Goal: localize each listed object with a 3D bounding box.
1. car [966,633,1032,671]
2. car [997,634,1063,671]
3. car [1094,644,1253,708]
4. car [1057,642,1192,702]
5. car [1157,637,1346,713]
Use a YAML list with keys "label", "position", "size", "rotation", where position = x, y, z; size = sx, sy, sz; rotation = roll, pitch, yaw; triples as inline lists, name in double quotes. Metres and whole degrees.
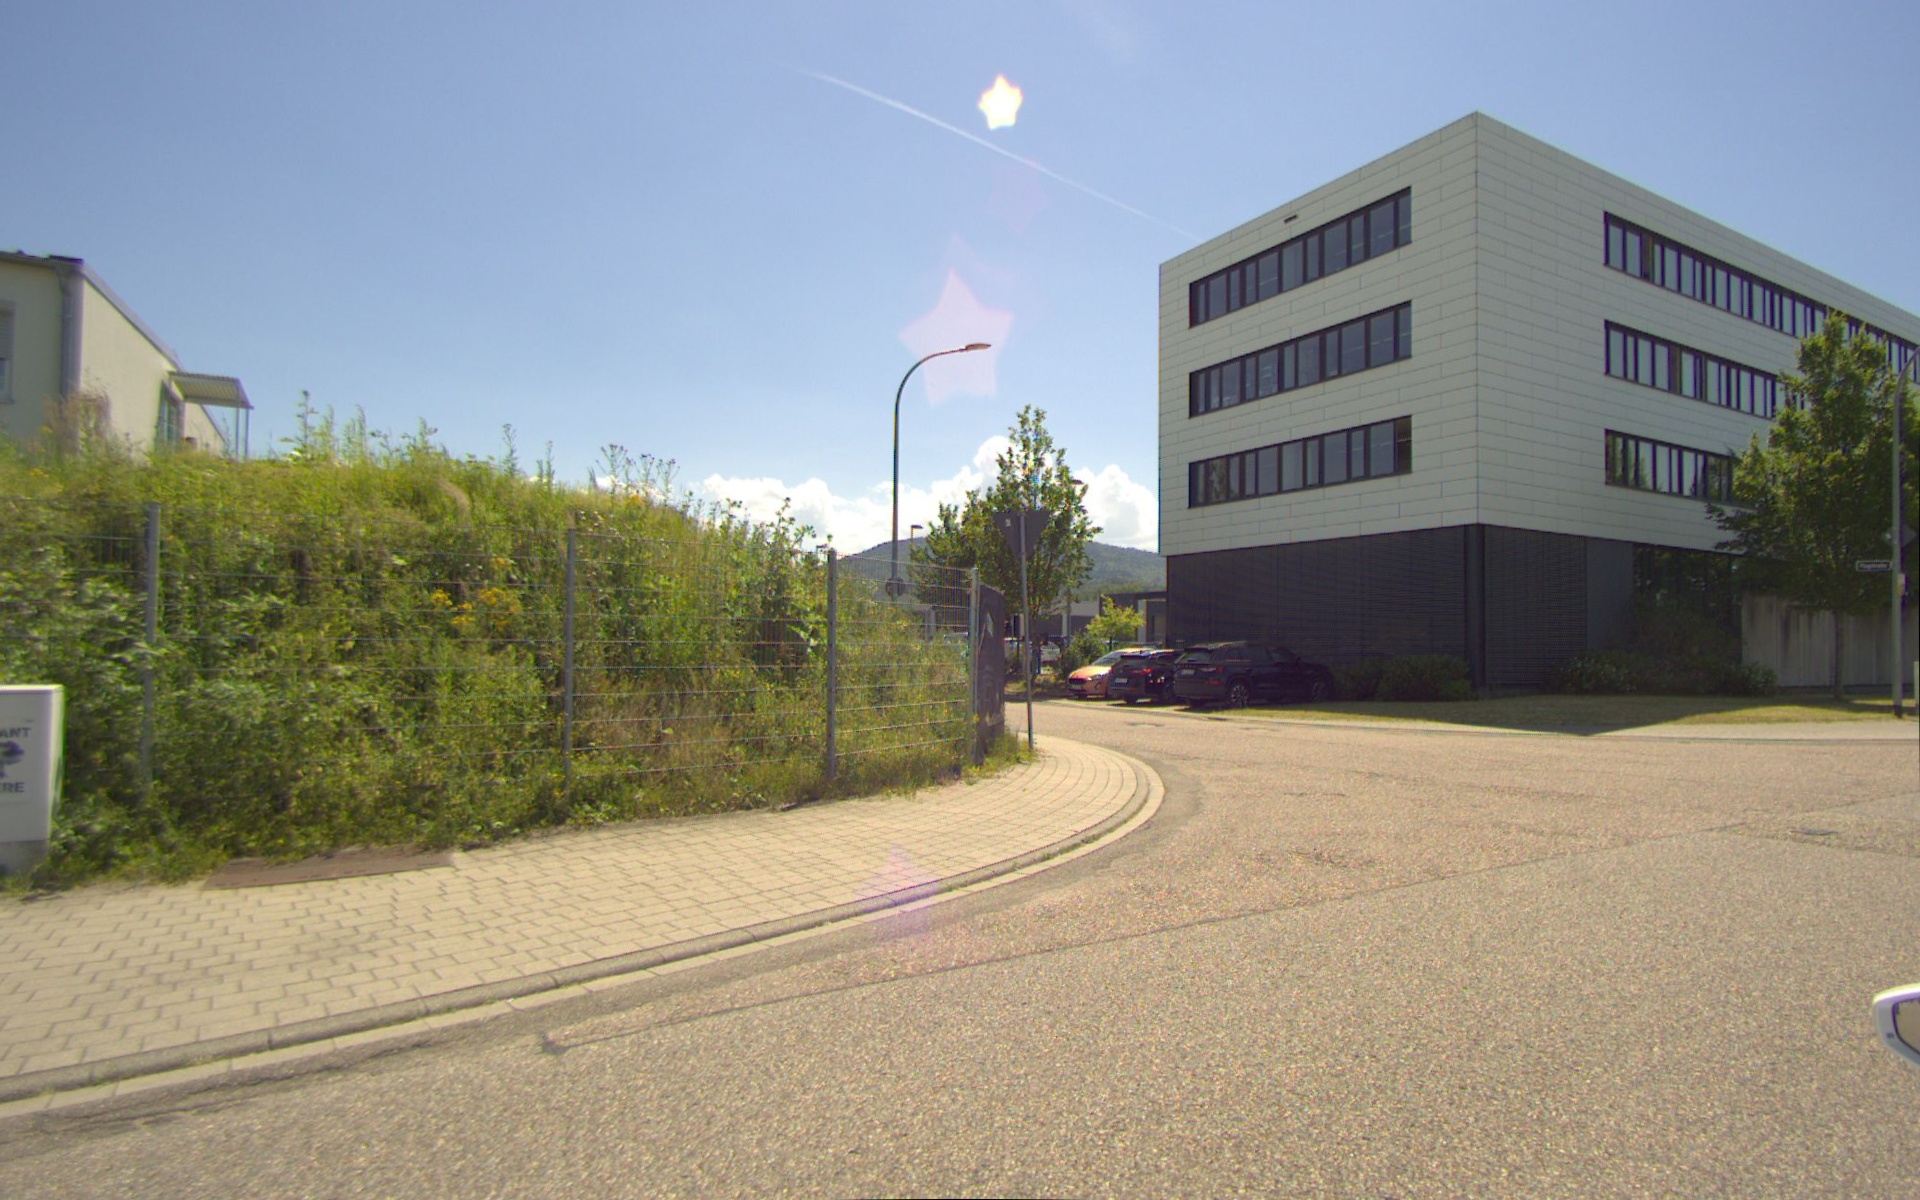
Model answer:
- label: "car"
  position: [2.164, 2.923, 56.609]
  size: [1.845, 1.886, 3.967]
  rotation: [2, 0, -30]
- label: "car"
  position: [4.008, 3.005, 58.032]
  size: [1.845, 1.886, 3.967]
  rotation: [2, 0, -30]
- label: "car"
  position: [6.045, 2.092, 28.386]
  size: [4.201, 1.466, 1.798]
  rotation: [-2, -1, -28]
- label: "car"
  position: [5.079, 2.166, 30.939]
  size: [3.884, 1.543, 1.673]
  rotation: [-2, -1, -28]
- label: "car"
  position: [7.650, 1.882, 26.257]
  size: [4.841, 1.614, 1.798]
  rotation: [-2, -1, -29]
